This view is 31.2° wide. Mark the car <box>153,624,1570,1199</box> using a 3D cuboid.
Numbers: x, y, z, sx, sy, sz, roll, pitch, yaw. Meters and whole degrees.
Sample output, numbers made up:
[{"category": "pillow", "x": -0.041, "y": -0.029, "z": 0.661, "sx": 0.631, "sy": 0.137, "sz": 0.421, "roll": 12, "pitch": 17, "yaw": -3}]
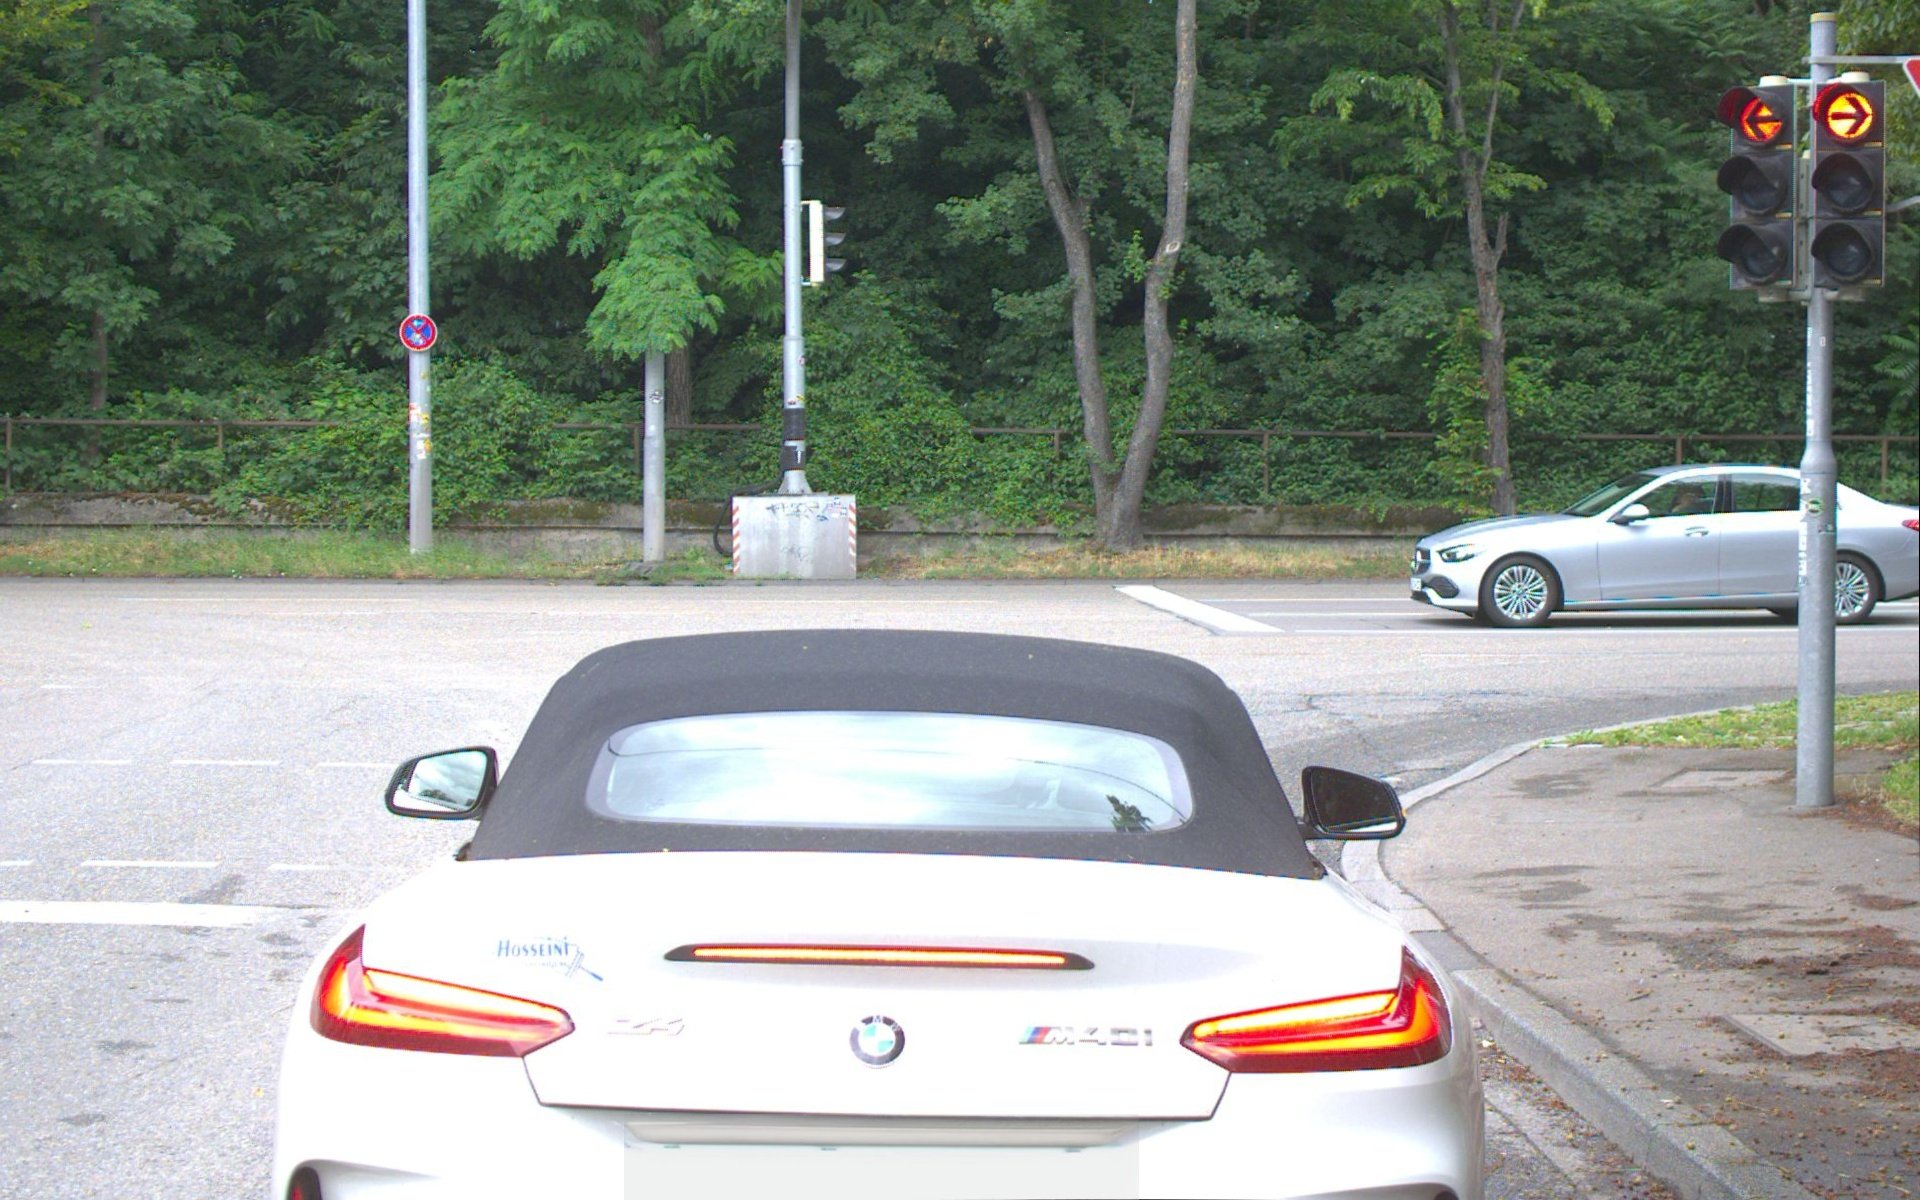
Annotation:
[{"category": "car", "x": -0.220, "y": 0.699, "z": 6.477, "sx": 1.827, "sy": 1.253, "sz": 4.000, "roll": 2, "pitch": 0, "yaw": -3}]

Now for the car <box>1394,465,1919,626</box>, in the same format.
[{"category": "car", "x": 6.444, "y": -0.511, "z": 31.038, "sx": 4.751, "sy": 1.329, "sz": 1.834, "roll": 1, "pitch": 3, "yaw": -2}]
